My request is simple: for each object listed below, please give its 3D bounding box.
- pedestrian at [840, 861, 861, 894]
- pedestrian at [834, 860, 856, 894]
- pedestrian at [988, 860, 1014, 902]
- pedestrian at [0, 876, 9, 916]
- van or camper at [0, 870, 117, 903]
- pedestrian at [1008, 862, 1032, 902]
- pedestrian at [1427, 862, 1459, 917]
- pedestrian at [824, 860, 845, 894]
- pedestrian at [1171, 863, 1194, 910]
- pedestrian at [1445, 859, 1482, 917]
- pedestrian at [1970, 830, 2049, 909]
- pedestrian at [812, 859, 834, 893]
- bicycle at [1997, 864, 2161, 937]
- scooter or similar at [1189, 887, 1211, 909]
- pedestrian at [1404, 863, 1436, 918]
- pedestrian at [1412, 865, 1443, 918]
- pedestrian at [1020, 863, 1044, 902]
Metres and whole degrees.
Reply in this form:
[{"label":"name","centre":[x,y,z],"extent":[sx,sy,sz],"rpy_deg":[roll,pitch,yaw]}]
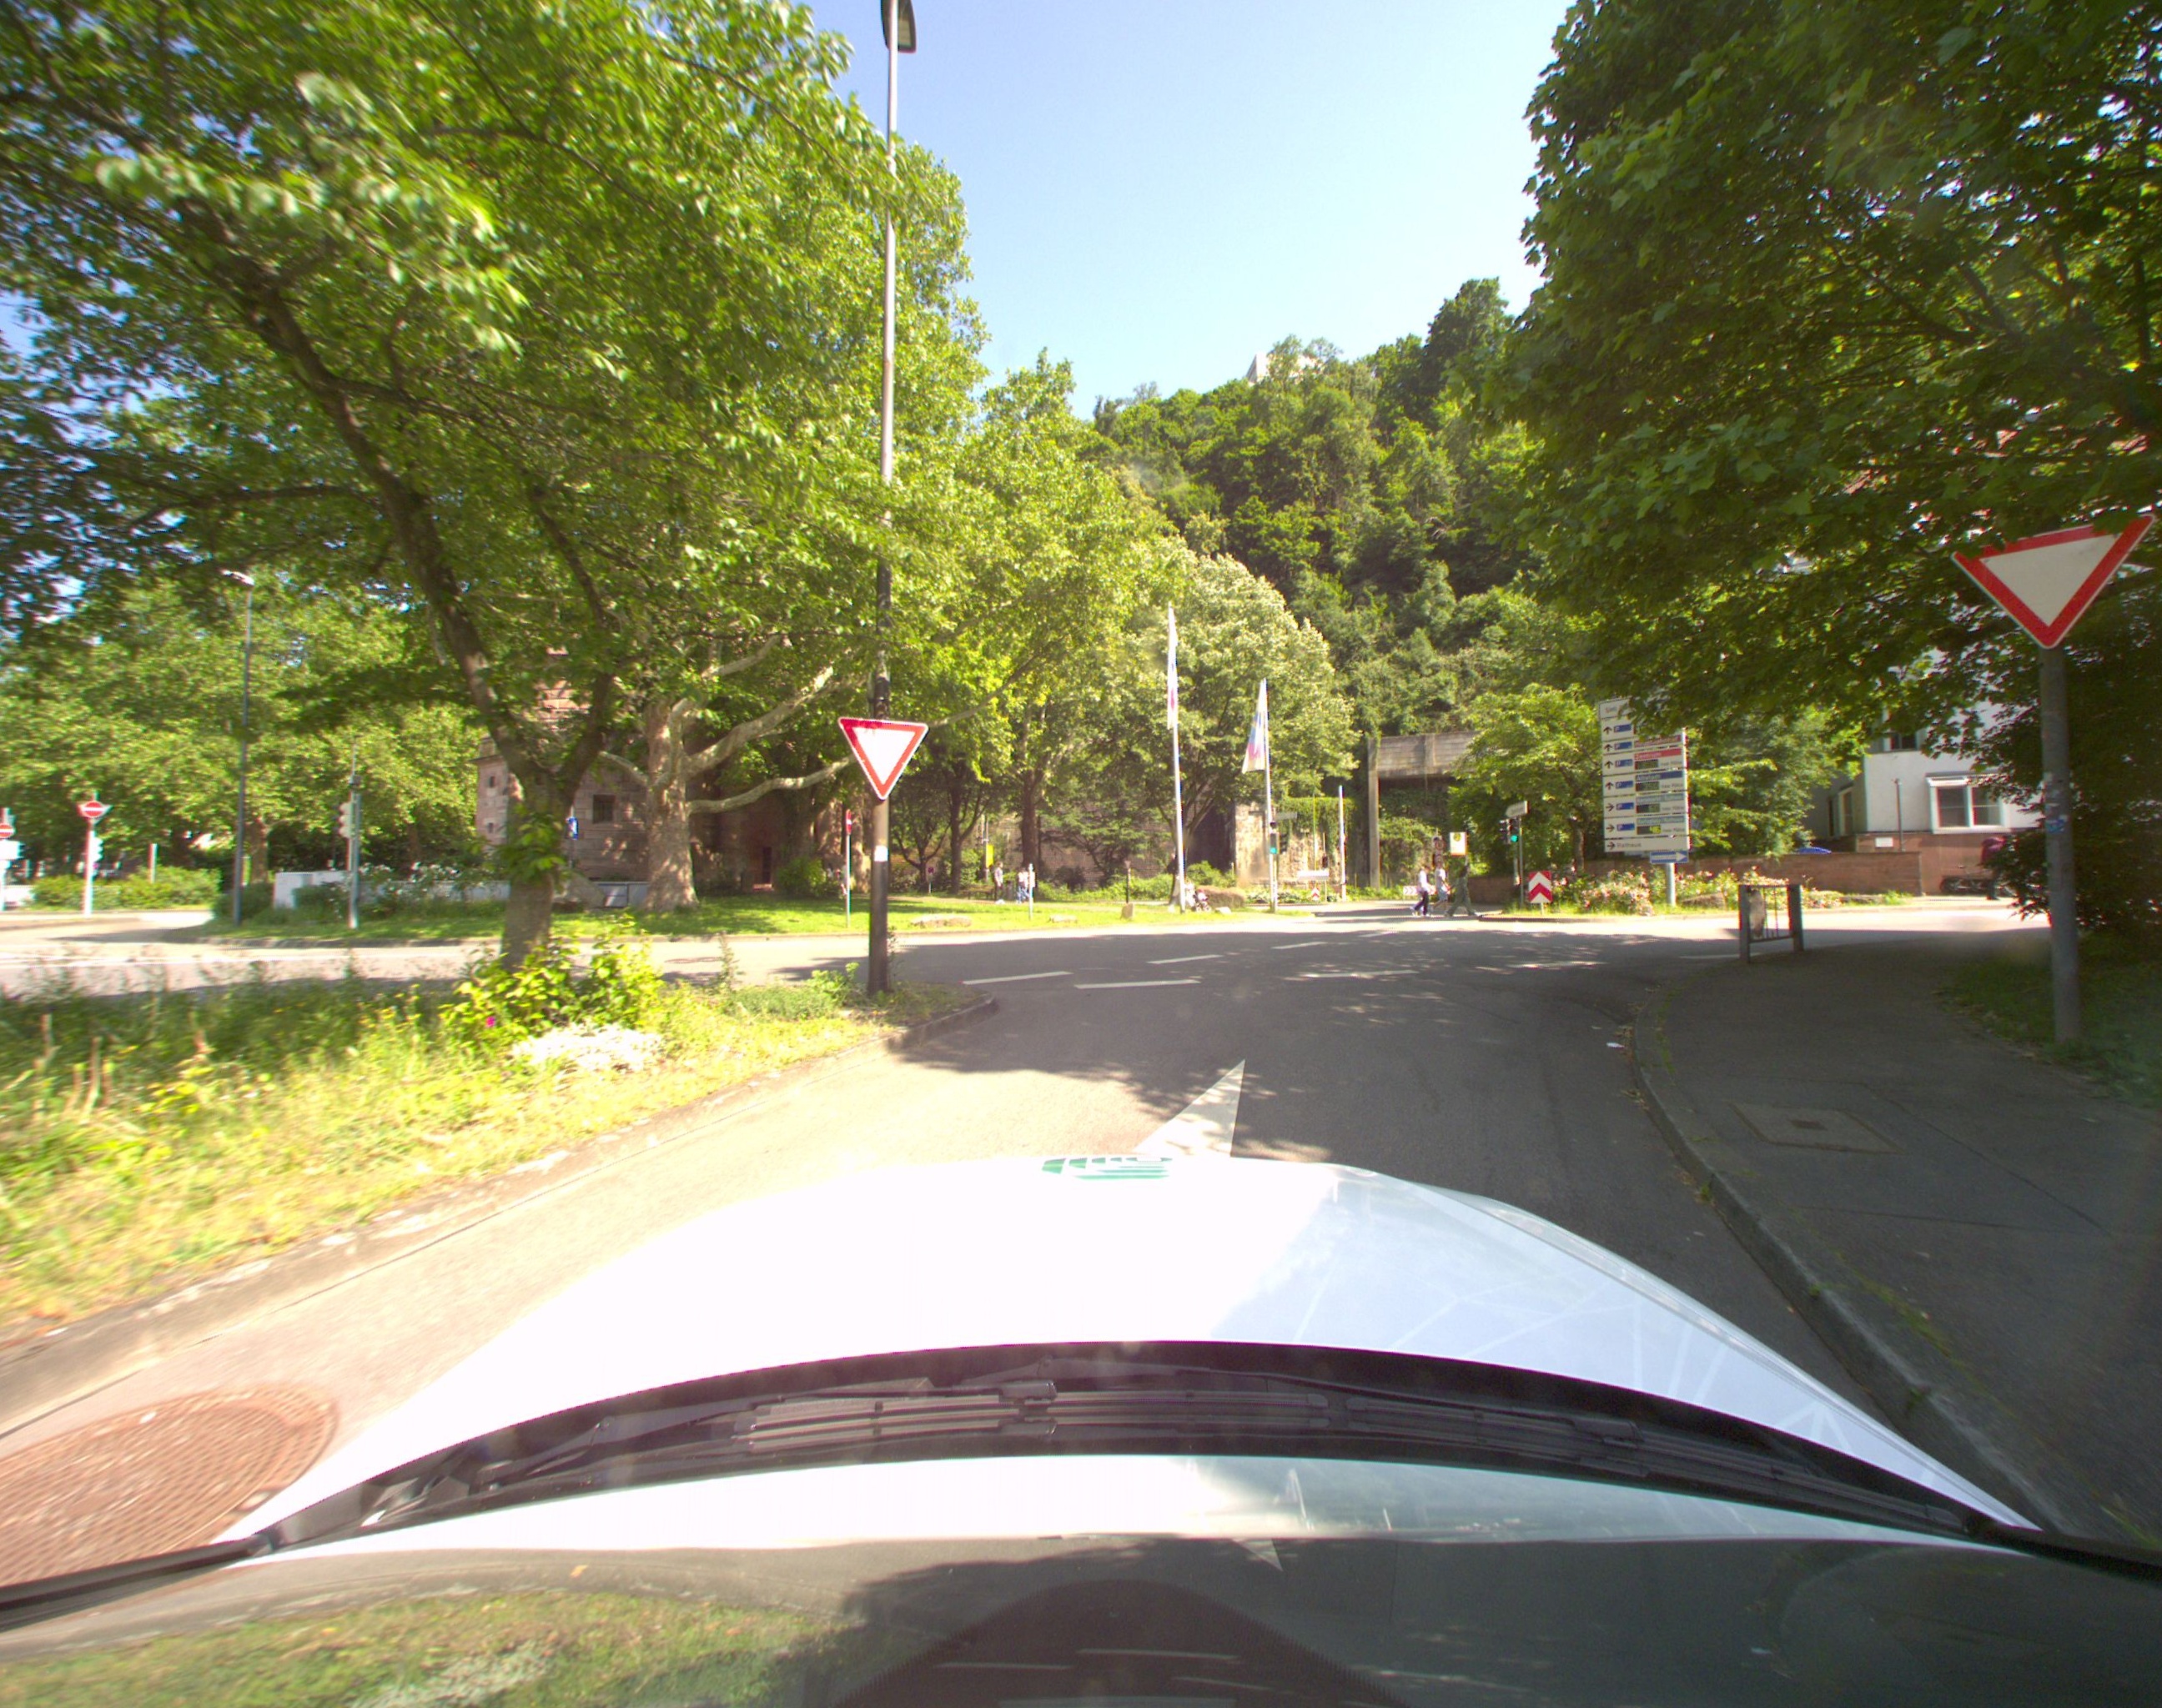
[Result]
[{"label":"pedestrian","centre":[-12.415,1.286,43.830],"extent":[0.657,1.756,0.800],"rpy_deg":[-1,-4,40]},{"label":"pedestrian","centre":[-12.392,1.214,42.717],"extent":[0.657,1.756,0.800],"rpy_deg":[-1,-4,40]},{"label":"pedestrian","centre":[-3.475,1.175,35.236],"extent":[0.713,1.756,0.800],"rpy_deg":[-1,-4,40]},{"label":"pedestrian","centre":[-47.315,1.835,35.314],"extent":[0.767,1.708,0.868],"rpy_deg":[0,-1,-37]},{"label":"van or camper","centre":[-63.176,1.950,50.095],"extent":[4.566,1.902,1.983],"rpy_deg":[0,-1,-27]},{"label":"pedestrian","centre":[-2.704,1.236,36.336],"extent":[0.657,1.756,0.800],"rpy_deg":[-1,-4,40]},{"label":"pedestrian","centre":[11.653,1.139,26.196],"extent":[0.752,1.756,0.769],"rpy_deg":[-1,-4,40]},{"label":"pedestrian","centre":[-13.107,1.222,43.304],"extent":[0.657,1.756,0.800],"rpy_deg":[-1,-4,40]},{"label":"pedestrian","centre":[3.861,1.221,31.127],"extent":[0.758,1.756,0.764],"rpy_deg":[0,-1,-3]},{"label":"pedestrian","centre":[11.959,1.060,25.459],"extent":[0.856,1.756,0.807],"rpy_deg":[-1,-4,40]},{"label":"pedestrian","centre":[23.074,0.382,20.254],"extent":[0.960,1.895,1.065],"rpy_deg":[0,-1,-26]},{"label":"pedestrian","centre":[-13.479,1.153,42.521],"extent":[0.657,1.756,0.800],"rpy_deg":[-1,-4,40]},{"label":"bicycle","centre":[27.871,1.283,22.609],"extent":[2.962,1.888,1.176],"rpy_deg":[0,-4,27]},{"label":"scooter or similar","centre":[4.568,1.689,31.238],"extent":[0.729,0.812,0.569],"rpy_deg":[0,-1,-5]},{"label":"pedestrian","centre":[11.195,1.201,26.881],"extent":[0.752,1.756,0.769],"rpy_deg":[-1,-4,40]},{"label":"pedestrian","centre":[11.700,1.249,27.493],"extent":[0.752,1.756,0.769],"rpy_deg":[-1,-4,40]},{"label":"pedestrian","centre":[-2.241,1.289,37.060],"extent":[0.657,1.756,0.800],"rpy_deg":[-1,-4,40]}]
